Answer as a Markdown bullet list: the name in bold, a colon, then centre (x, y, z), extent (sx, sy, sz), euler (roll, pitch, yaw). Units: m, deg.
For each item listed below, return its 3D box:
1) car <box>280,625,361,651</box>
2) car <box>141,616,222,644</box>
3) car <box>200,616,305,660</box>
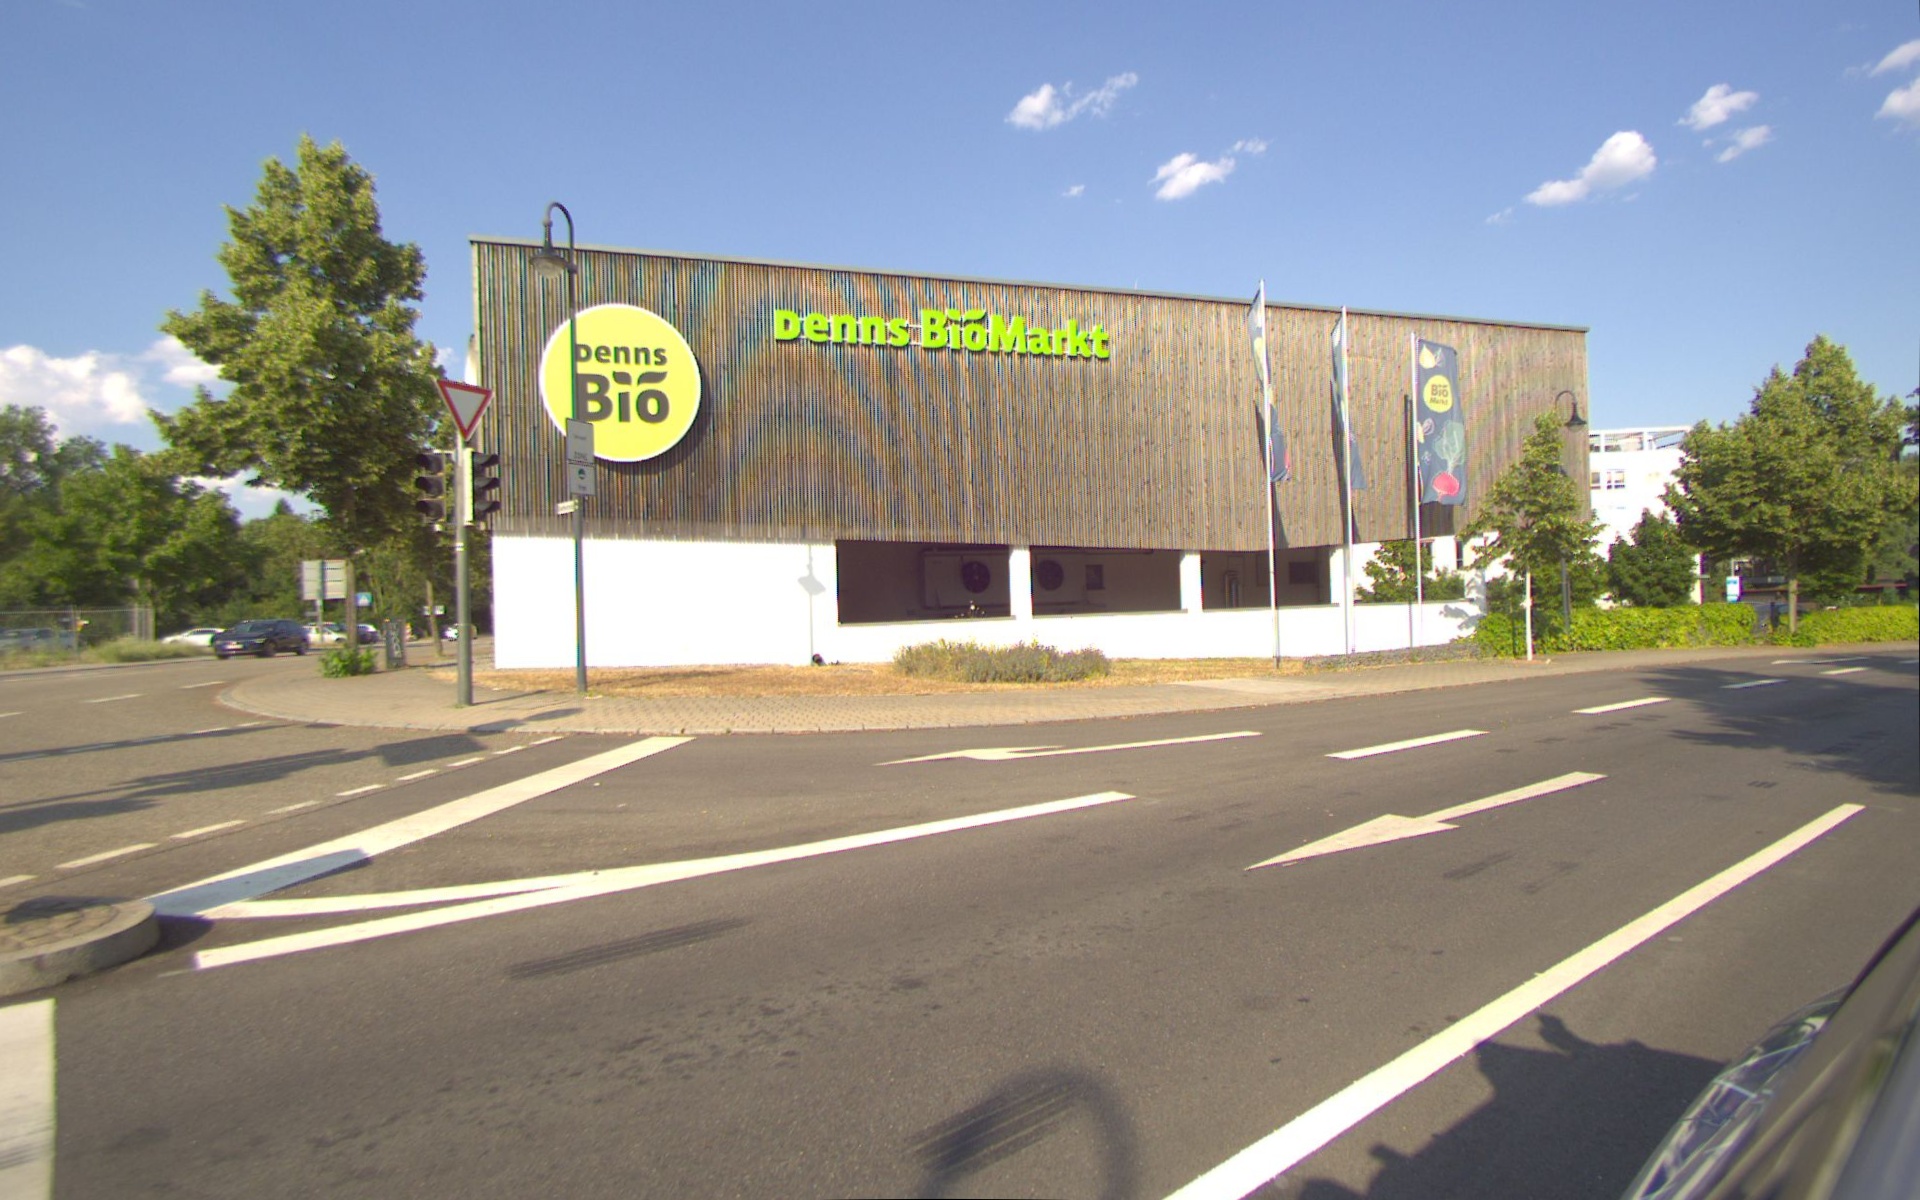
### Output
- **car**: centre (-42.829, 2.525, 67.897), extent (4.225, 1.473, 1.899), euler (-2, 1, -20)
- **car**: centre (-56.881, 2.187, 74.020), extent (4.225, 1.744, 1.899), euler (-2, 1, -20)
- **car**: centre (-26.622, 1.379, 38.250), extent (1.819, 1.471, 4.007), euler (0, 0, -12)
